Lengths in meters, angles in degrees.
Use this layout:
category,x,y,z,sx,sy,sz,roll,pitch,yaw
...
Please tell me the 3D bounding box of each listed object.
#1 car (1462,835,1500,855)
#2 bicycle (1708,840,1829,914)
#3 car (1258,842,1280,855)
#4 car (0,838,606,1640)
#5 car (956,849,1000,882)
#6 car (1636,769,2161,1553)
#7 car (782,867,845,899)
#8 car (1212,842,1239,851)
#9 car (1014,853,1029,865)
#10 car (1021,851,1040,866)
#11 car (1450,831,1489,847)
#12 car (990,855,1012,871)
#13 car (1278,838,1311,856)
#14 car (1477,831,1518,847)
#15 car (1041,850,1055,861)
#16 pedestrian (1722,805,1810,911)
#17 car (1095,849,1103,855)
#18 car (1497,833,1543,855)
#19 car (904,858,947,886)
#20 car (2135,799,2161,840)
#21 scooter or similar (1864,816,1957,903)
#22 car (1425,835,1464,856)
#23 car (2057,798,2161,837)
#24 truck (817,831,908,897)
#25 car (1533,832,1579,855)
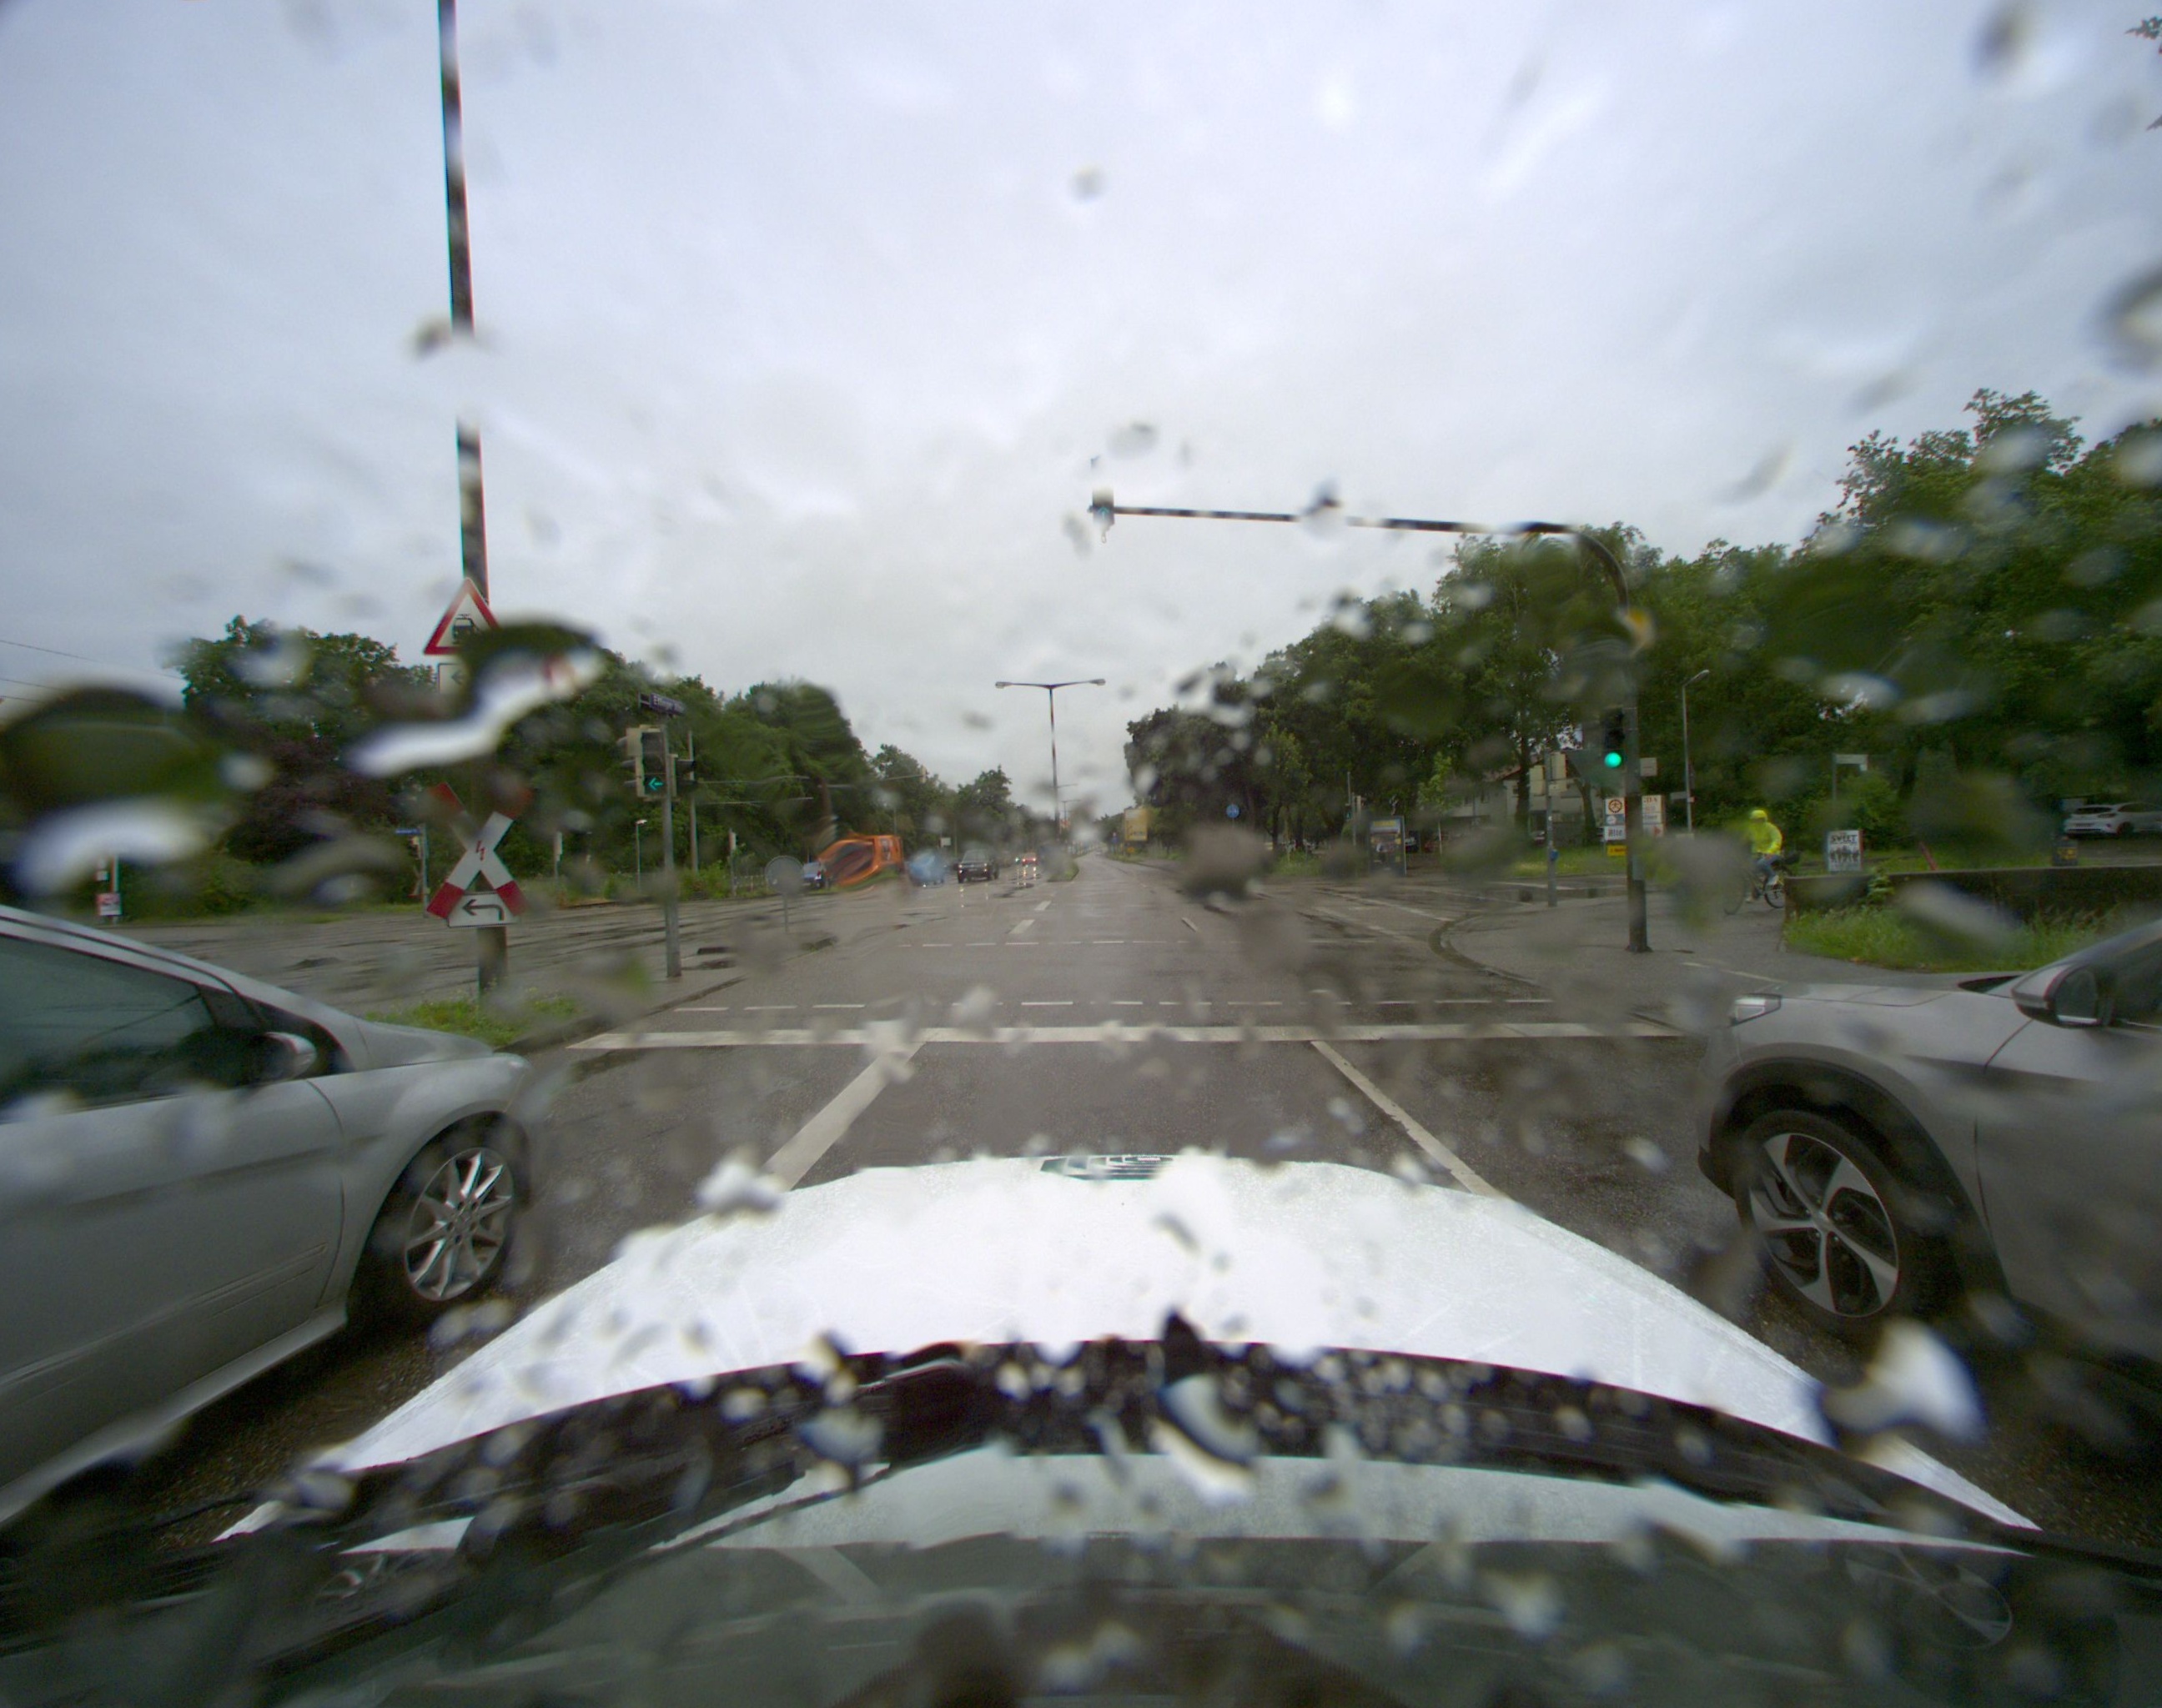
category,x,y,z,sx,sy,sz,roll,pitch,yaw
car,29.136,-0.642,59.322,1.648,1.449,3.776,-1,-1,40
bicycle,11.514,0.378,13.647,1.665,1.038,0.784,-6,0,-21
car,21.972,-0.595,95.413,1.632,1.486,4.071,0,0,-1
car,-2.974,0.776,1.482,1.730,1.544,4.014,-2,0,1
car,-6.053,0.643,48.362,1.799,1.773,5.090,-4,0,1
car,3.132,0.617,1.199,1.877,1.610,4.197,-1,-1,2
car,-15.336,1.610,47.022,1.986,1.709,4.529,-1,0,2
car,26.946,-1.331,152.079,4.562,1.645,1.997,0,0,-5
car,-9.045,0.735,123.915,1.700,1.641,4.332,-4,0,2
car,-5.904,0.515,94.952,1.795,1.569,4.428,-4,-1,0
car,34.100,-1.323,71.615,1.568,1.316,3.699,-1,0,-2
car,-9.090,0.987,93.040,1.887,1.611,4.502,-2,0,2
car,21.431,-0.668,81.930,1.988,1.717,4.876,-3,0,-1
car,36.653,-1.300,71.778,1.579,1.385,3.998,0,0,-1
car,-5.195,0.299,129.520,1.954,1.617,4.698,-3,0,1
pedestrian,11.453,0.068,13.637,0.669,1.678,0.784,-6,0,-21
car,4.741,-0.527,214.749,1.900,1.515,4.002,-2,0,2
car,30.810,-0.669,57.104,3.772,1.449,1.650,0,-1,-42
car,-9.014,1.033,47.476,1.636,1.427,3.998,-4,0,-1
car,45.221,-1.398,32.434,4.582,1.583,1.921,0,0,-8
scooter or similar,12.287,0.083,12.077,0.952,1.229,0.322,-2,0,6
car,27.093,-0.617,60.675,1.648,1.449,3.776,-1,-1,40
car,45.321,-1.556,35.164,4.582,1.583,1.921,0,0,-8
truck,-15.009,0.681,57.093,3.373,4.167,10.408,0,0,1
car,32.409,-0.692,55.495,3.772,1.449,1.584,0,-1,-42
